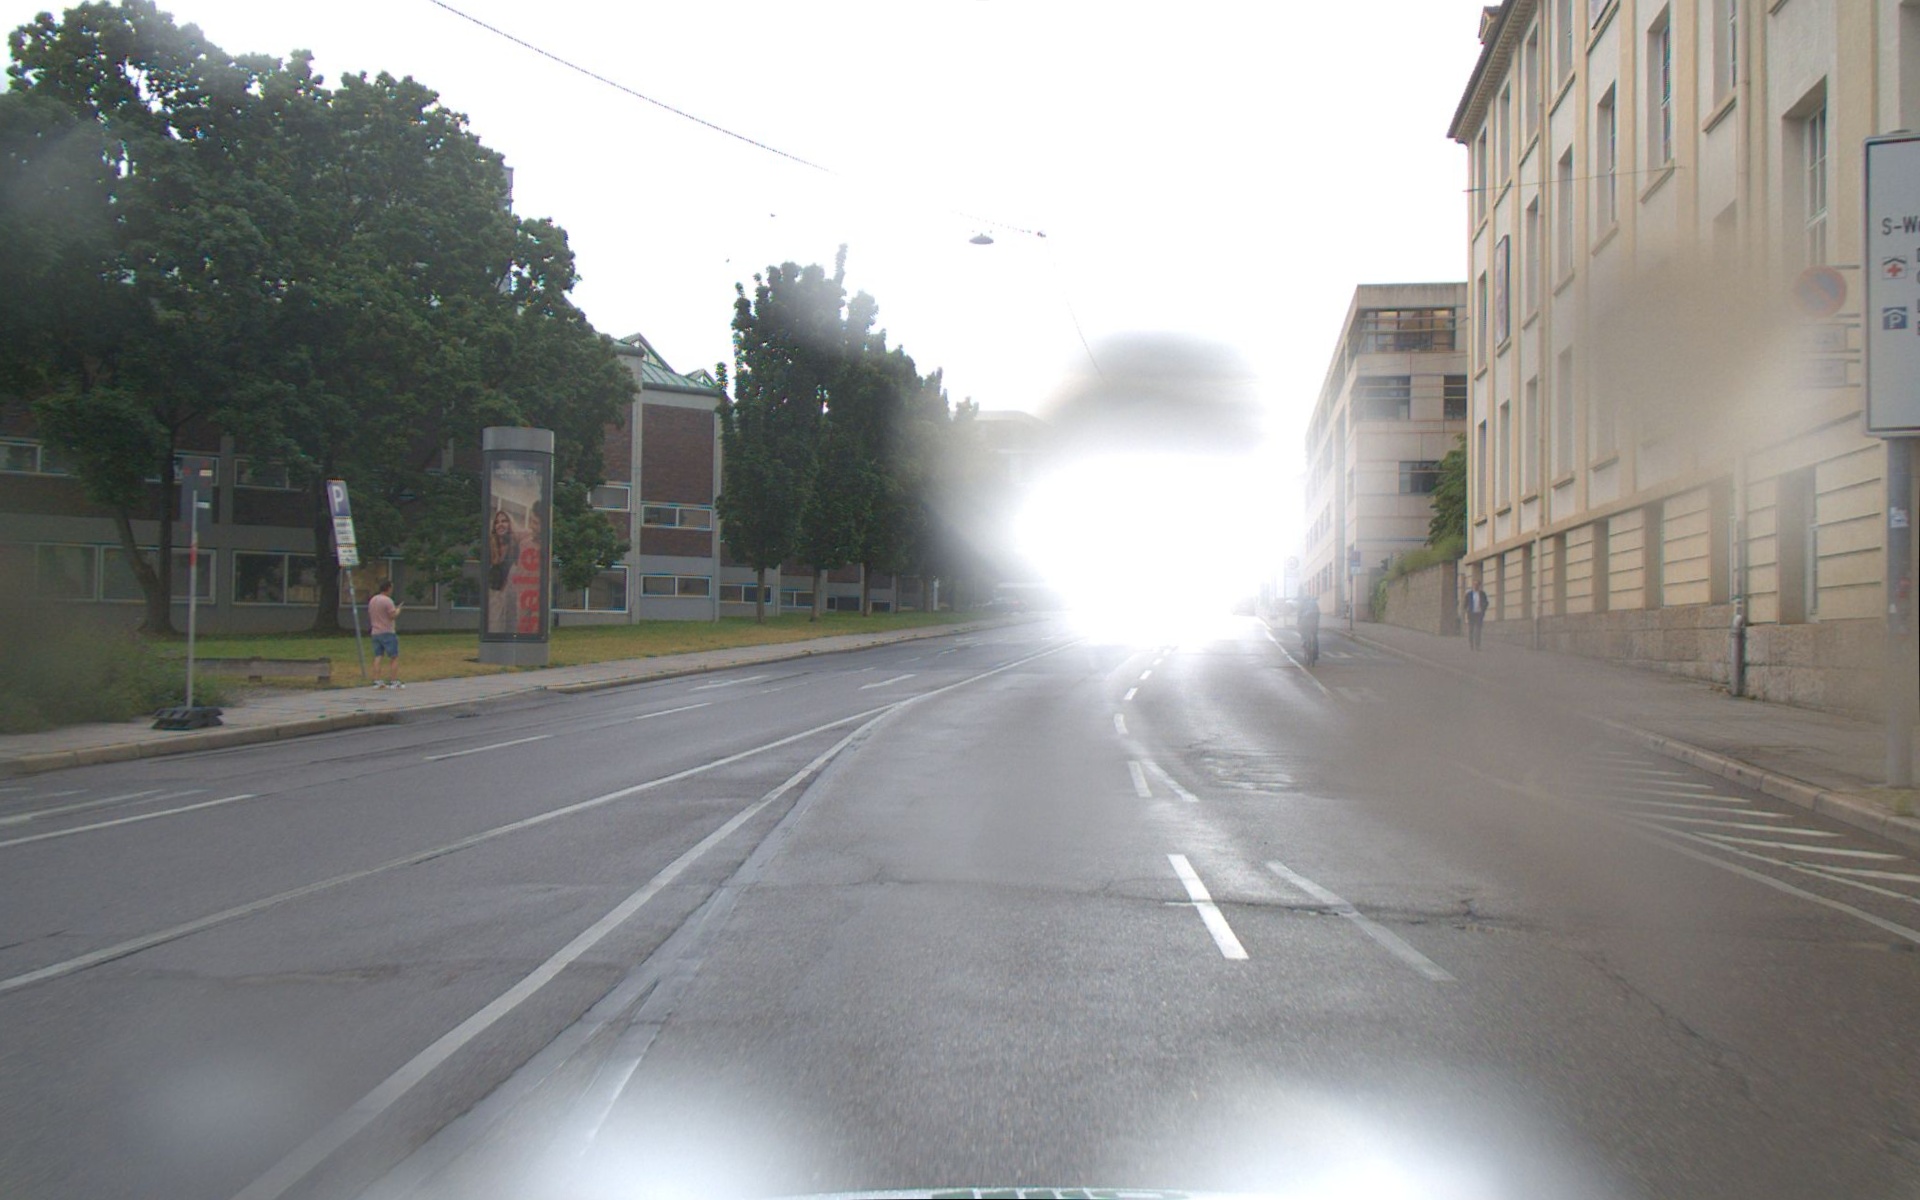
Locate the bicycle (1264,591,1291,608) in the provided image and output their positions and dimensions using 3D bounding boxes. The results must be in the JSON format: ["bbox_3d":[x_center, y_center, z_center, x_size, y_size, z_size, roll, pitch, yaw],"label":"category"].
[{"bbox_3d":[21.780,-0.014,113.451,1.693,1.138,0.660,0,0,4],"label":"bicycle"}]

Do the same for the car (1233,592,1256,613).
[{"bbox_3d":[23.441,0.192,136.446,1.733,1.632,4.398,1,0,8],"label":"car"}]

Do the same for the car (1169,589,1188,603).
[{"bbox_3d":[25.895,-0.455,195.909,1.841,1.517,5.224,-2,0,12],"label":"car"}]

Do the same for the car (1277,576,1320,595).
[{"bbox_3d":[36.055,-1.542,176.252,4.343,1.742,1.906,-2,0,9],"label":"car"}]

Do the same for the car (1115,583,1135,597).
[{"bbox_3d":[17.228,-1.058,172.590,1.782,1.443,4.406,1,0,9],"label":"car"}]

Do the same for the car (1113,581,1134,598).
[{"bbox_3d":[16.446,-1.083,165.920,1.810,1.646,4.495,1,0,9],"label":"car"}]

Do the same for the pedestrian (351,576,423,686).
[{"bbox_3d":[-9.171,0.485,26.502,0.656,1.716,0.914,1,0,16],"label":"pedestrian"}]

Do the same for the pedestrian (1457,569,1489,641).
[{"bbox_3d":[13.358,0.134,43.102,0.656,1.829,0.852,1,0,11],"label":"pedestrian"}]

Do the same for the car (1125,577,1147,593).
[{"bbox_3d":[19.410,-1.654,182.522,1.921,1.780,4.946,1,0,11],"label":"car"}]

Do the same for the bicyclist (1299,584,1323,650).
[{"bbox_3d":[7.833,0.374,36.901,0.474,1.458,0.931,1,0,11],"label":"bicyclist"}]

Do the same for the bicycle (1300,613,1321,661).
[{"bbox_3d":[7.832,0.814,36.963,0.438,0.980,1.691,1,1,11],"label":"bicycle"}]

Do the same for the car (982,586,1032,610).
[{"bbox_3d":[3.916,-0.175,138.343,3.822,1.847,1.936,1,0,12],"label":"car"}]
